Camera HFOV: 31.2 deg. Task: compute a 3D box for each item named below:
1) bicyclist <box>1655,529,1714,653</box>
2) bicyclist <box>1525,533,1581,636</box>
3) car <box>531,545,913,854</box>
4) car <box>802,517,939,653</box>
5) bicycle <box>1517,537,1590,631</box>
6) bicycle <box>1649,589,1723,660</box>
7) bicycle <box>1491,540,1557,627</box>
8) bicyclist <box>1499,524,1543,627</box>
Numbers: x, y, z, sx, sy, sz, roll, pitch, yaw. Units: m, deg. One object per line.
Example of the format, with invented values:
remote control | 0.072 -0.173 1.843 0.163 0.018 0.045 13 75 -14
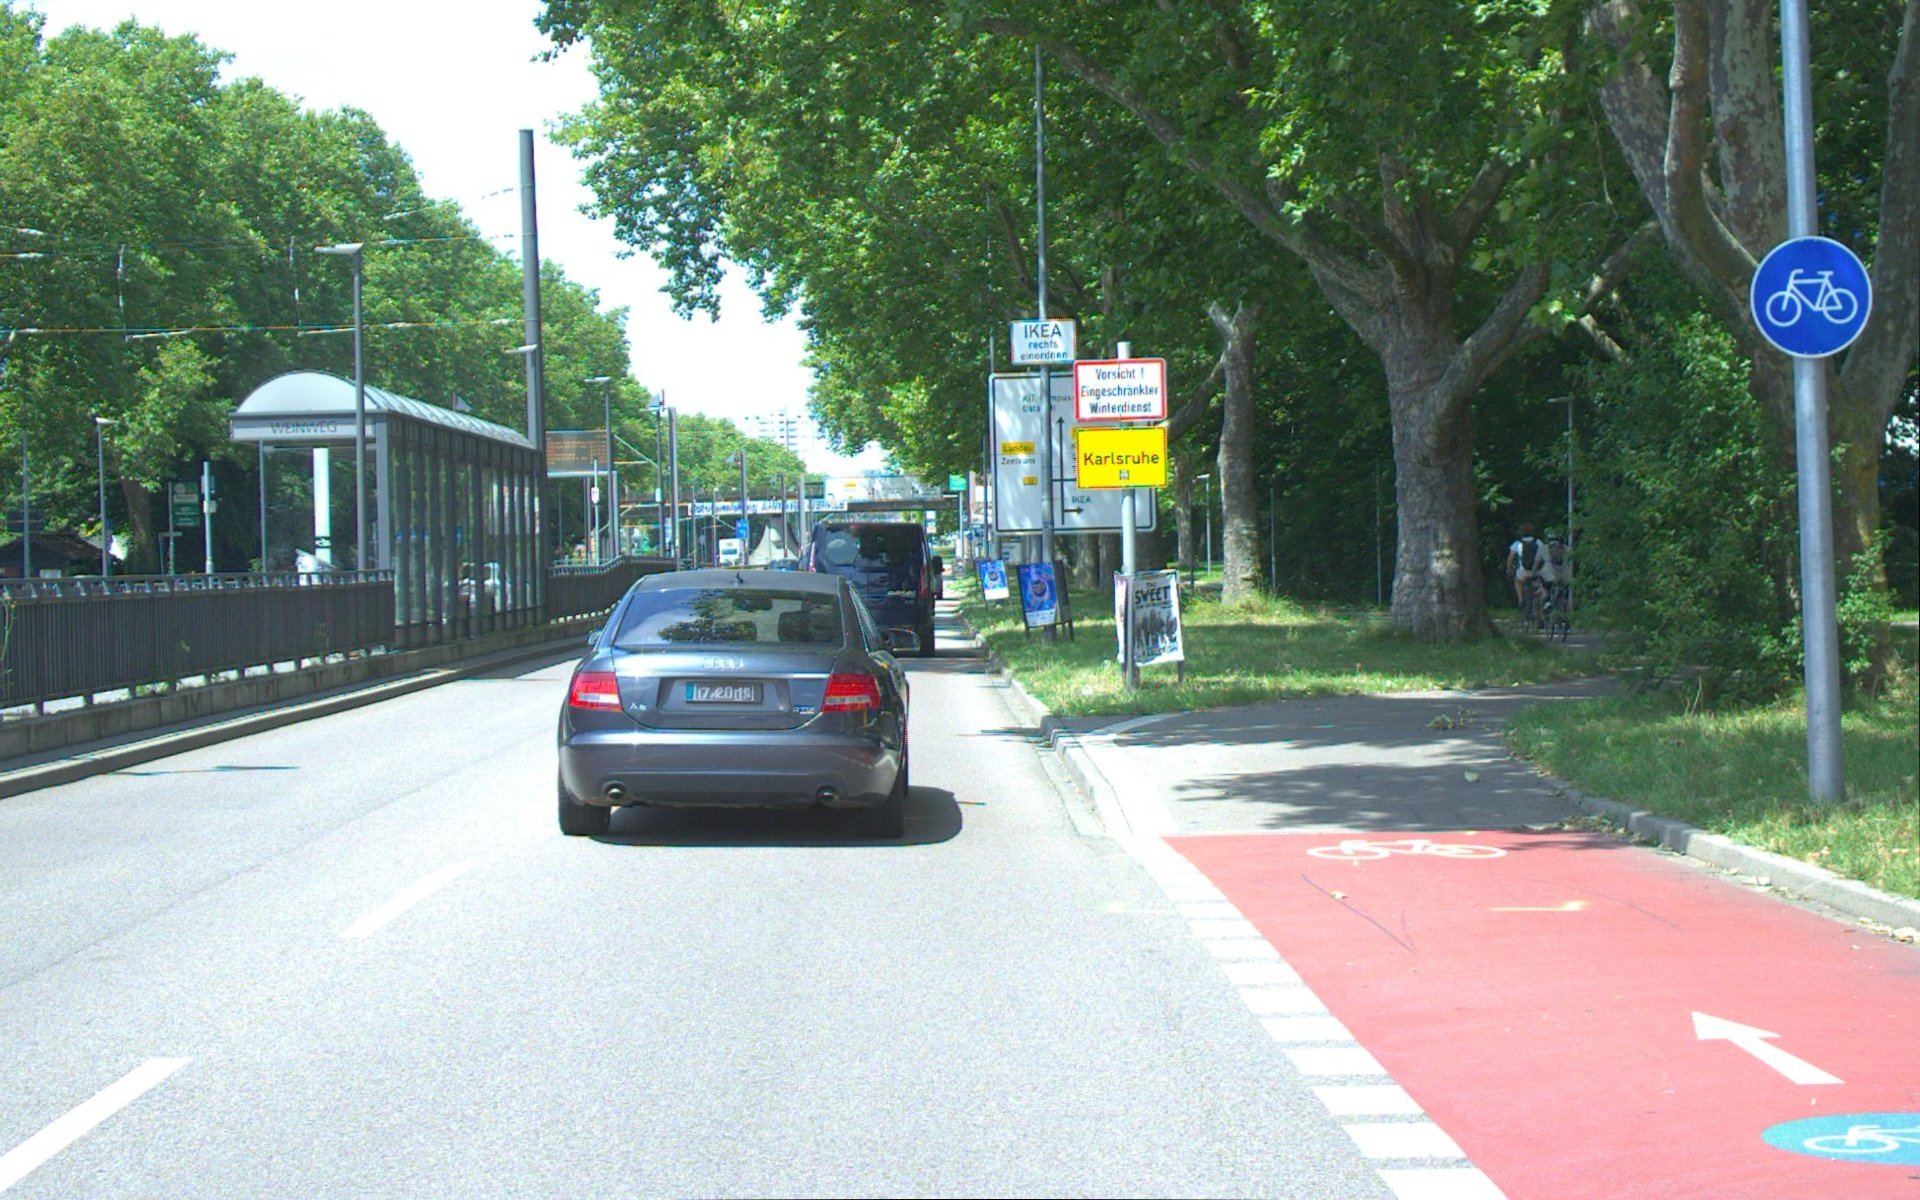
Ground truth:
bicyclist | 9.508 -0.120 45.142 0.623 1.604 0.816 -1 1 3
bicyclist | 9.258 -0.248 53.703 0.658 1.593 1.053 -1 1 0
car | -1.217 0.468 19.189 1.842 1.479 4.000 -1 2 0
car | -1.316 -0.242 51.896 1.848 1.953 4.144 0 1 1
bicycle | 9.251 -0.267 53.639 0.610 1.415 2.662 -1 1 -1
bicycle | 9.535 0.310 45.203 0.645 0.884 2.023 -1 1 3
bicycle | 9.517 -0.294 58.121 0.610 1.415 2.662 -1 1 -1
bicyclist | 9.521 -0.424 58.404 0.597 1.740 0.843 0 1 -1
